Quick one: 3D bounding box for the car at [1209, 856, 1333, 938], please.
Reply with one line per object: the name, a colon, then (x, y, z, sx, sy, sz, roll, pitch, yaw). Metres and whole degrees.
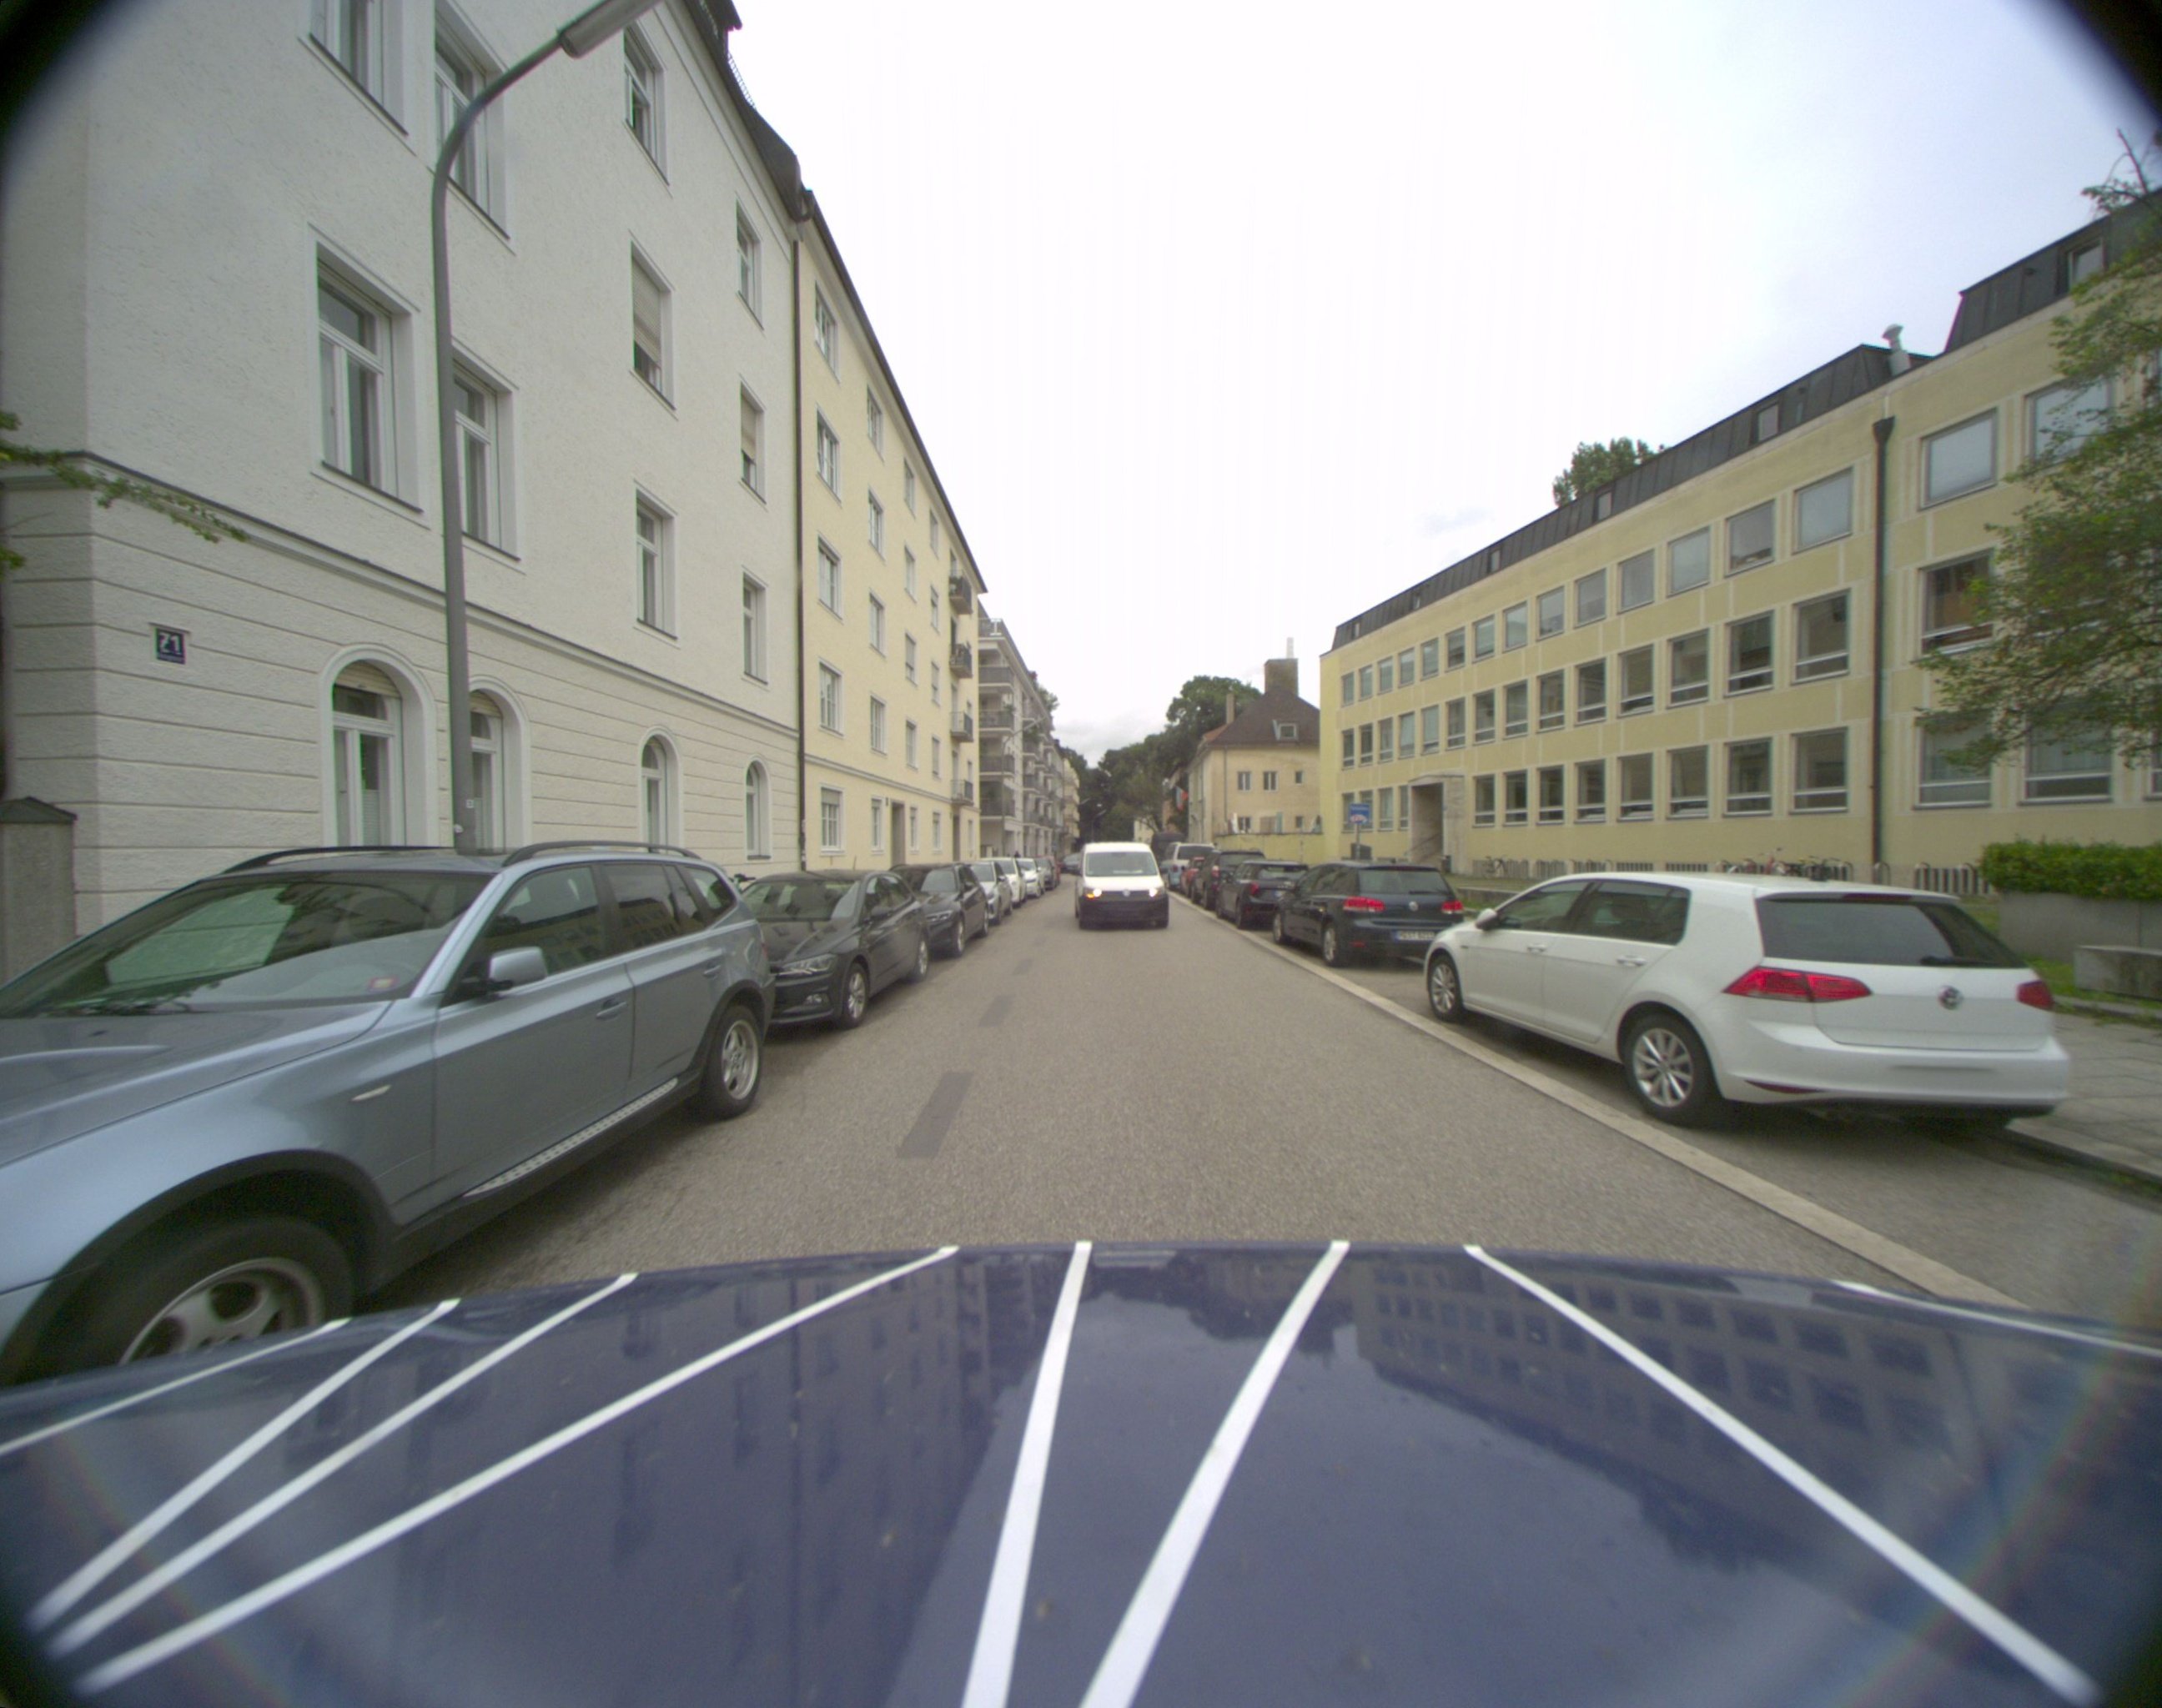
car: (3.971, 0.832, 16.475, 1.744, 1.459, 3.685, -2, 1, 0)

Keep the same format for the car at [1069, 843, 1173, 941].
car: (0.797, 0.667, 16.339, 1.884, 1.762, 4.924, 0, 1, 1)

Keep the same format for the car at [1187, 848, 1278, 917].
car: (4.166, 0.717, 21.497, 1.744, 1.679, 4.122, 1, 1, 0)

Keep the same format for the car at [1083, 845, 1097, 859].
car: (1.175, -0.259, 99.013, 1.639, 1.726, 3.880, -2, 1, 2)

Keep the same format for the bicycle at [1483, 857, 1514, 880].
bicycle: (17.167, 0.580, 31.236, 1.244, 0.897, 0.288, -3, 2, -13)

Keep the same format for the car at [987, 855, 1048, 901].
car: (-2.280, 0.838, 28.259, 1.841, 1.450, 4.022, -2, 1, 1)

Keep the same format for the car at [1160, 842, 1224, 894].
car: (4.495, 0.521, 31.438, 1.949, 1.965, 4.354, 1, 1, -1)

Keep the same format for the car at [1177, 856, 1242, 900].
car: (4.502, 0.814, 27.139, 1.744, 1.396, 3.455, 1, 1, 0)

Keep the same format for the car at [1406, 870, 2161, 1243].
car: (4.083, 0.964, 5.419, 1.726, 1.521, 3.999, 1, 1, -1)

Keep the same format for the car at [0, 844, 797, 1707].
car: (-2.940, 0.863, 3.009, 1.782, 1.720, 4.389, -2, 1, 2)

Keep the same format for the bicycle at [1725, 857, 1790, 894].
bicycle: (19.526, 0.607, 21.925, 1.739, 0.983, 0.389, -2, 2, -9)

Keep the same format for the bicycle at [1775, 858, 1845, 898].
bicycle: (19.576, 0.629, 20.397, 1.739, 0.983, 0.389, -2, 2, -9)

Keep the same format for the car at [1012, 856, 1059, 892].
car: (-1.949, 0.847, 33.645, 1.742, 1.367, 4.022, -2, 1, 1)

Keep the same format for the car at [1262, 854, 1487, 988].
car: (4.118, 0.829, 11.431, 1.745, 1.537, 4.081, -2, 1, 0)

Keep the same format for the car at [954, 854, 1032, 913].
car: (-2.635, 0.834, 23.705, 1.841, 1.538, 4.267, -2, 1, 1)

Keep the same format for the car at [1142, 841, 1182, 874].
car: (5.400, 0.192, 51.313, 2.215, 2.070, 4.959, -2, 1, 2)

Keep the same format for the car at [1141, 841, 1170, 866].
car: (6.556, -0.109, 67.457, 2.215, 2.070, 4.959, -2, 1, 2)

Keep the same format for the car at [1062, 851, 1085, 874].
car: (-0.600, 0.643, 62.250, 1.639, 1.726, 3.880, -2, 1, 2)

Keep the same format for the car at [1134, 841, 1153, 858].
car: (8.204, -0.602, 99.725, 2.215, 2.070, 4.959, -2, 1, 2)

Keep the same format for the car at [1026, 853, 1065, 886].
car: (-1.804, 0.742, 39.512, 1.742, 1.507, 4.022, -2, 1, 1)

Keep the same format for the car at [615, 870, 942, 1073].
car: (-2.810, 0.995, 8.150, 1.707, 1.434, 4.056, -2, 1, 2)

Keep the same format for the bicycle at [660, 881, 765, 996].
bicycle: (-4.357, 0.959, 9.093, 0.481, 1.171, 1.472, 2, 1, 2)

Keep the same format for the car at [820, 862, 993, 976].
car: (-2.703, 0.943, 12.918, 1.802, 1.406, 4.528, -2, 1, 0)

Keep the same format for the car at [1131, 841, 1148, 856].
car: (8.938, -0.876, 116.240, 2.215, 2.070, 4.959, -2, 1, 2)

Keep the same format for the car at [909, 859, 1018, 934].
car: (-2.710, 0.926, 18.607, 1.841, 1.426, 4.653, -2, 1, 1)

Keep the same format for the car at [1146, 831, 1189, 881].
car: (5.039, 0.068, 44.715, 1.998, 2.702, 4.959, -2, 1, 2)
